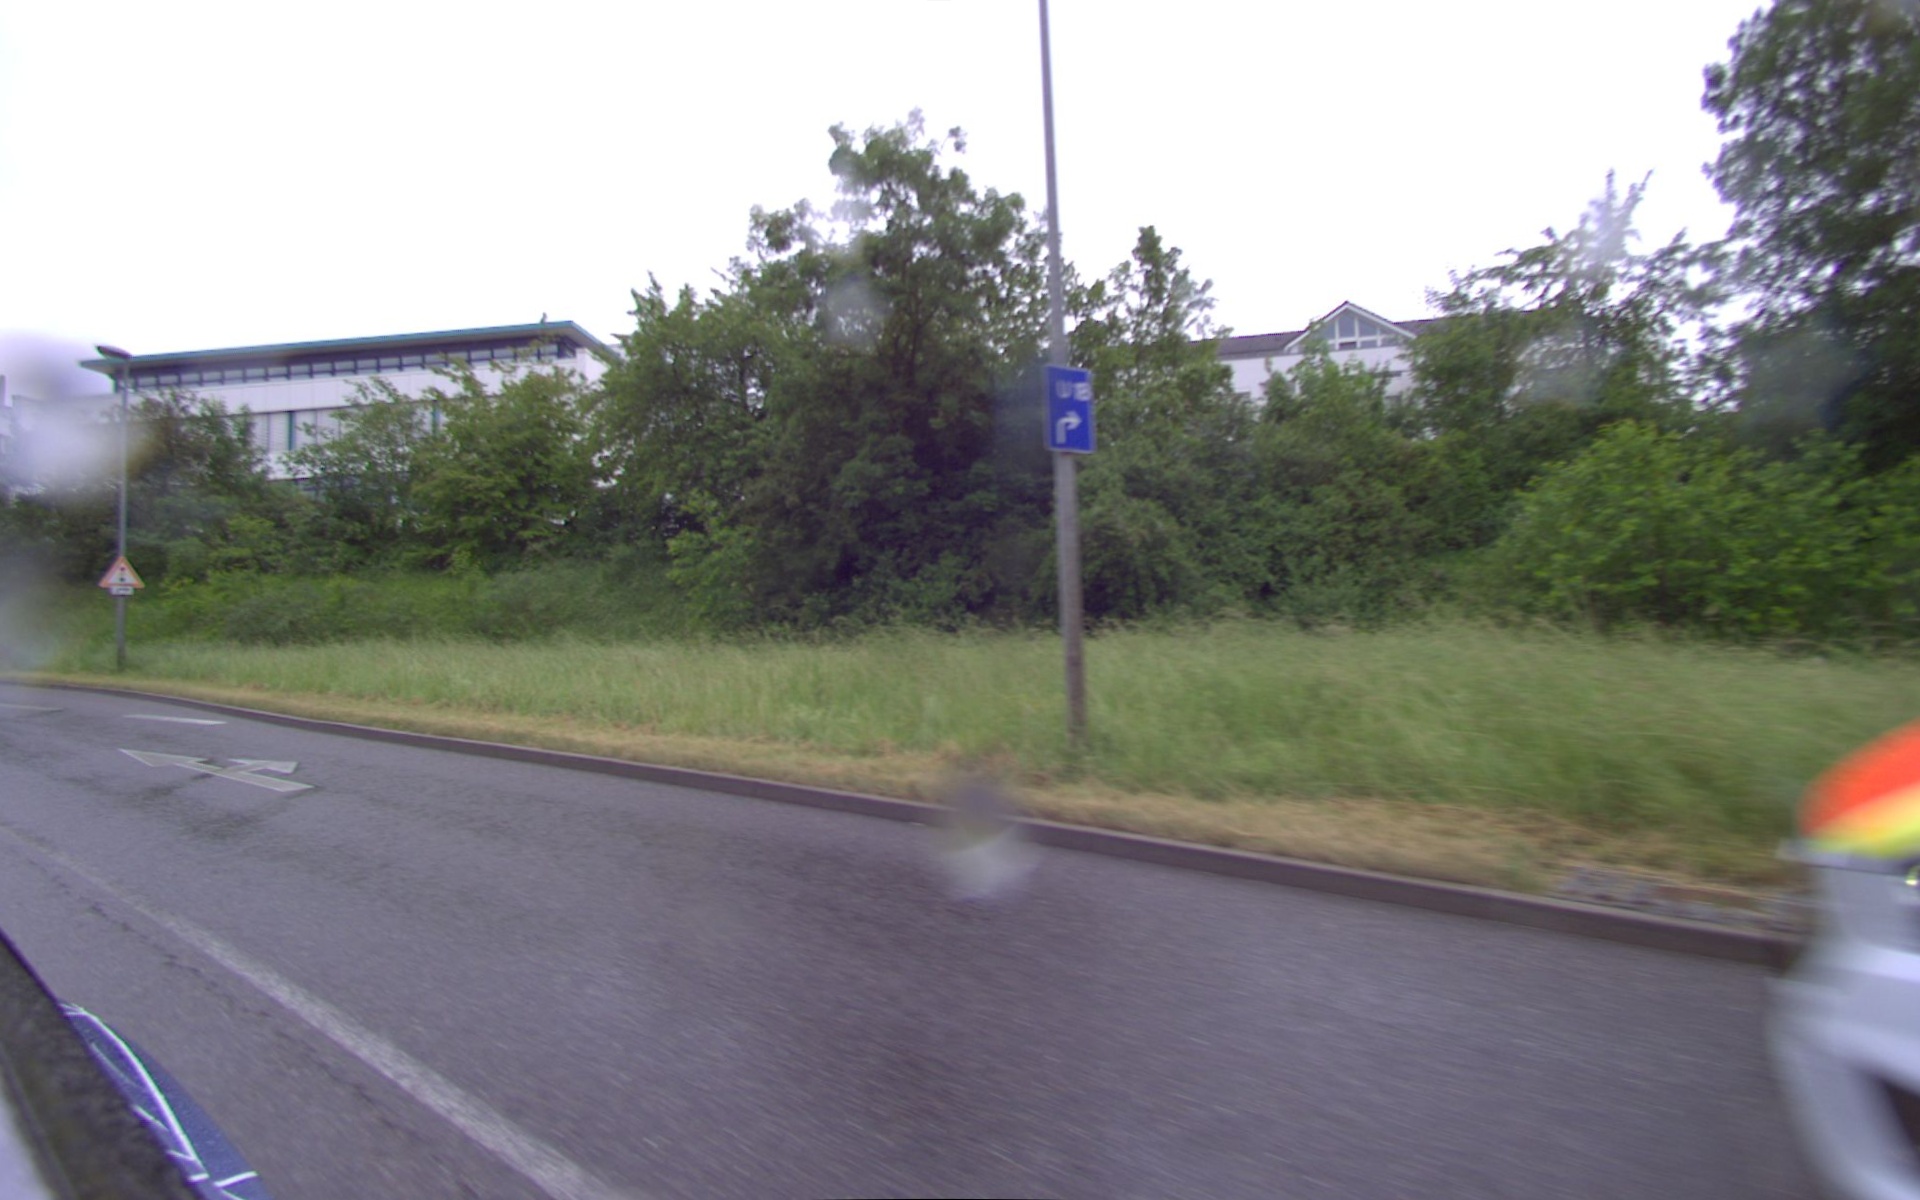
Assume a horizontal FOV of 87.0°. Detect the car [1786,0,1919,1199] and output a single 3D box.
[{"bbox_3d":[3.924,0.059,0.415,5.453,2.436,2.023,-2,-1,42],"label":"car"}]
